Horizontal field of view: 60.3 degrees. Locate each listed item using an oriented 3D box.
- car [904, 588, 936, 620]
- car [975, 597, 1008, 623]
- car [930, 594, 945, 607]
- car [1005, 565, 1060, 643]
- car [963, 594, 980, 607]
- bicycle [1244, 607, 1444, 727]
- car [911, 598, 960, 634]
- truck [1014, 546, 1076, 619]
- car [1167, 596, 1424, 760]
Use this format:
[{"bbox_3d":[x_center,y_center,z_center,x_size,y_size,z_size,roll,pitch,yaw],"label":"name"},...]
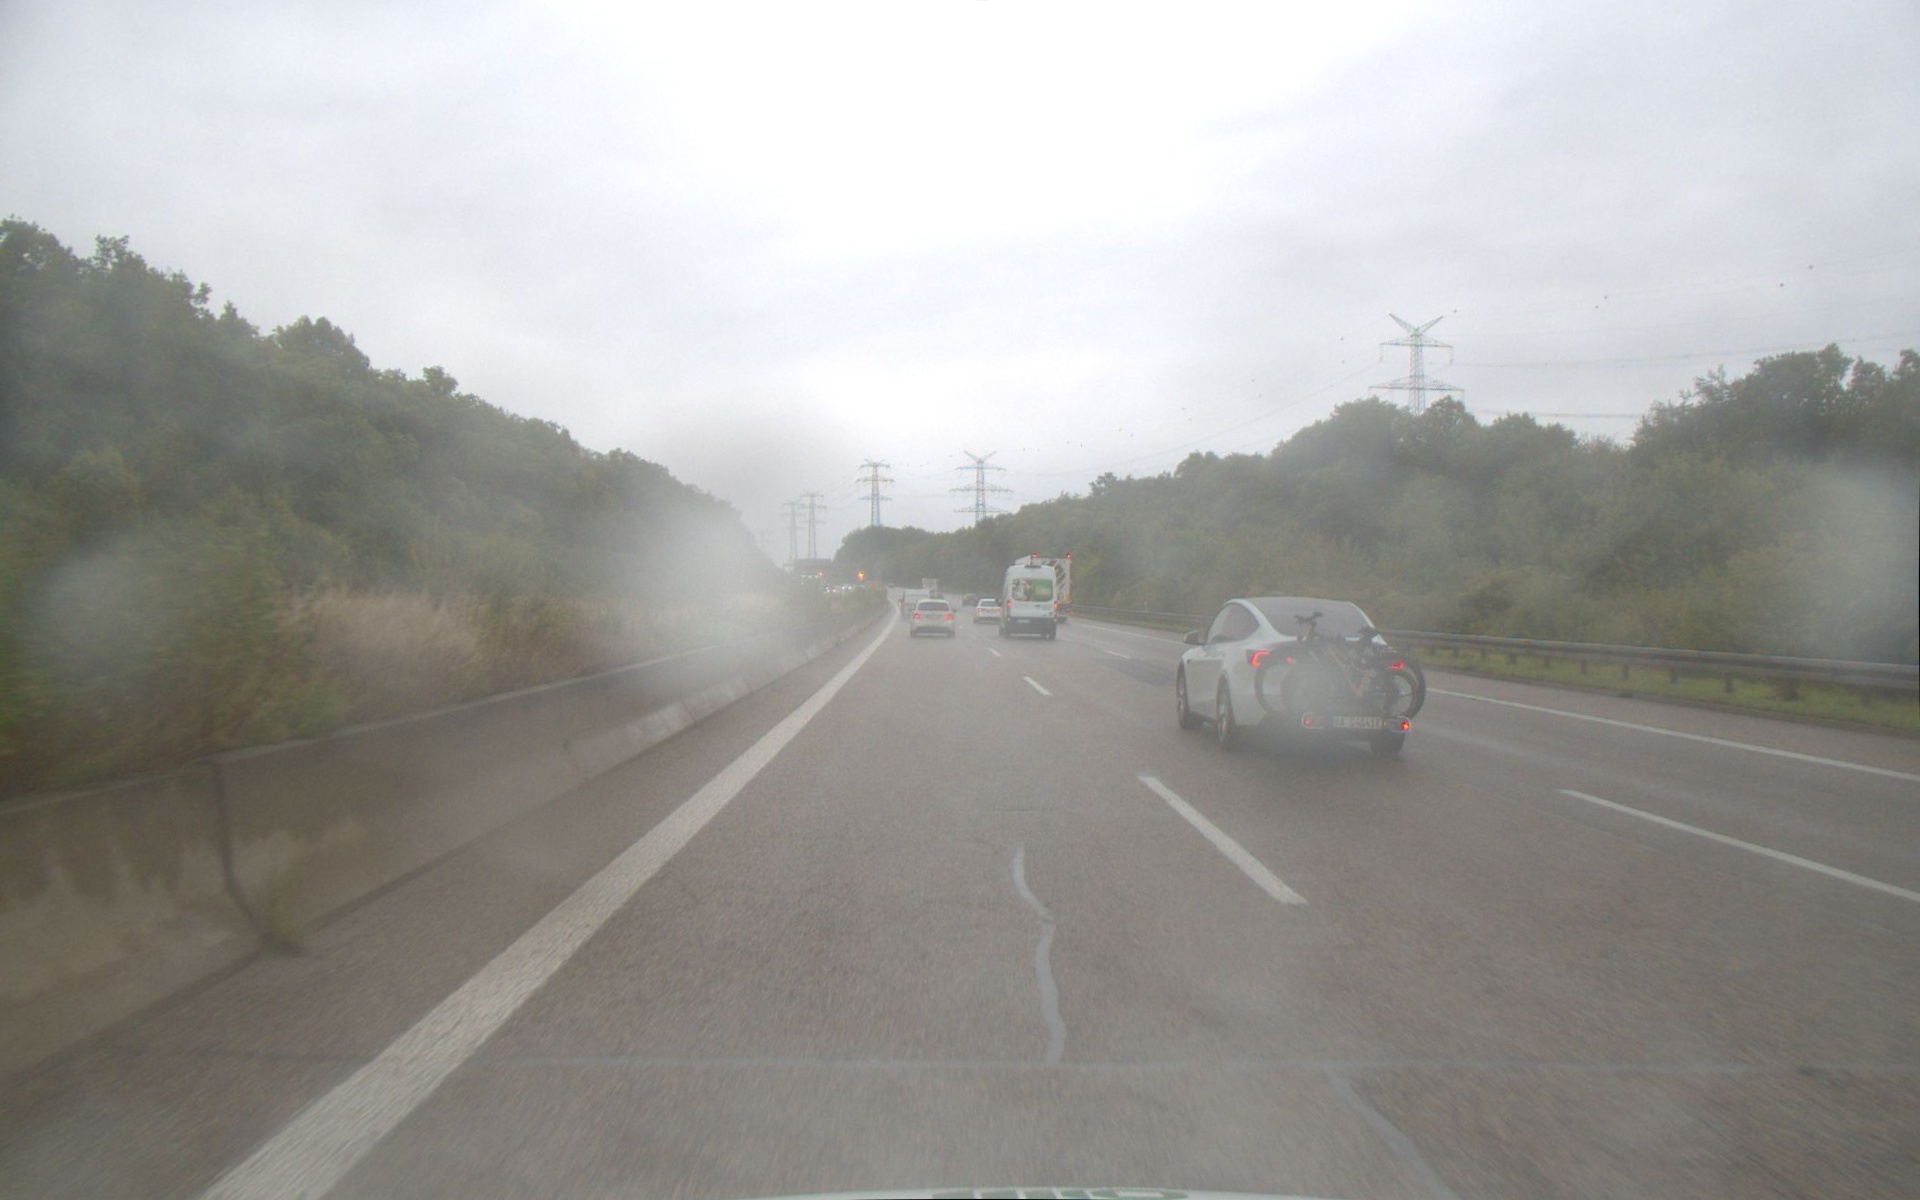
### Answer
[{"bbox_3d":[-2.328,0.229,96.653,1.808,1.803,3.999,-1,0,-1],"label":"car"},{"bbox_3d":[1.805,0.568,96.367,1.819,1.447,4.000,0,0,0],"label":"car"},{"bbox_3d":[-2.890,0.092,215.749,1.953,1.601,3.999,-1,-1,-1],"label":"car"},{"bbox_3d":[2.788,0.159,64.550,1.952,2.914,4.000,1,-1,0],"label":"car"},{"bbox_3d":[1.339,0.076,196.038,1.953,1.512,3.999,-2,0,-1],"label":"car"},{"bbox_3d":[3.679,0.634,15.973,1.717,1.110,0.913,0,-1,-1],"label":"bicycle"},{"bbox_3d":[-0.955,0.613,63.982,1.828,1.311,3.999,-1,0,-1],"label":"car"},{"bbox_3d":[5.375,-1.066,106.551,3.529,4.408,13.201,0,0,1],"label":"truck"},{"bbox_3d":[3.656,0.772,18.948,1.822,1.595,4.962,1,0,-1],"label":"car"}]
